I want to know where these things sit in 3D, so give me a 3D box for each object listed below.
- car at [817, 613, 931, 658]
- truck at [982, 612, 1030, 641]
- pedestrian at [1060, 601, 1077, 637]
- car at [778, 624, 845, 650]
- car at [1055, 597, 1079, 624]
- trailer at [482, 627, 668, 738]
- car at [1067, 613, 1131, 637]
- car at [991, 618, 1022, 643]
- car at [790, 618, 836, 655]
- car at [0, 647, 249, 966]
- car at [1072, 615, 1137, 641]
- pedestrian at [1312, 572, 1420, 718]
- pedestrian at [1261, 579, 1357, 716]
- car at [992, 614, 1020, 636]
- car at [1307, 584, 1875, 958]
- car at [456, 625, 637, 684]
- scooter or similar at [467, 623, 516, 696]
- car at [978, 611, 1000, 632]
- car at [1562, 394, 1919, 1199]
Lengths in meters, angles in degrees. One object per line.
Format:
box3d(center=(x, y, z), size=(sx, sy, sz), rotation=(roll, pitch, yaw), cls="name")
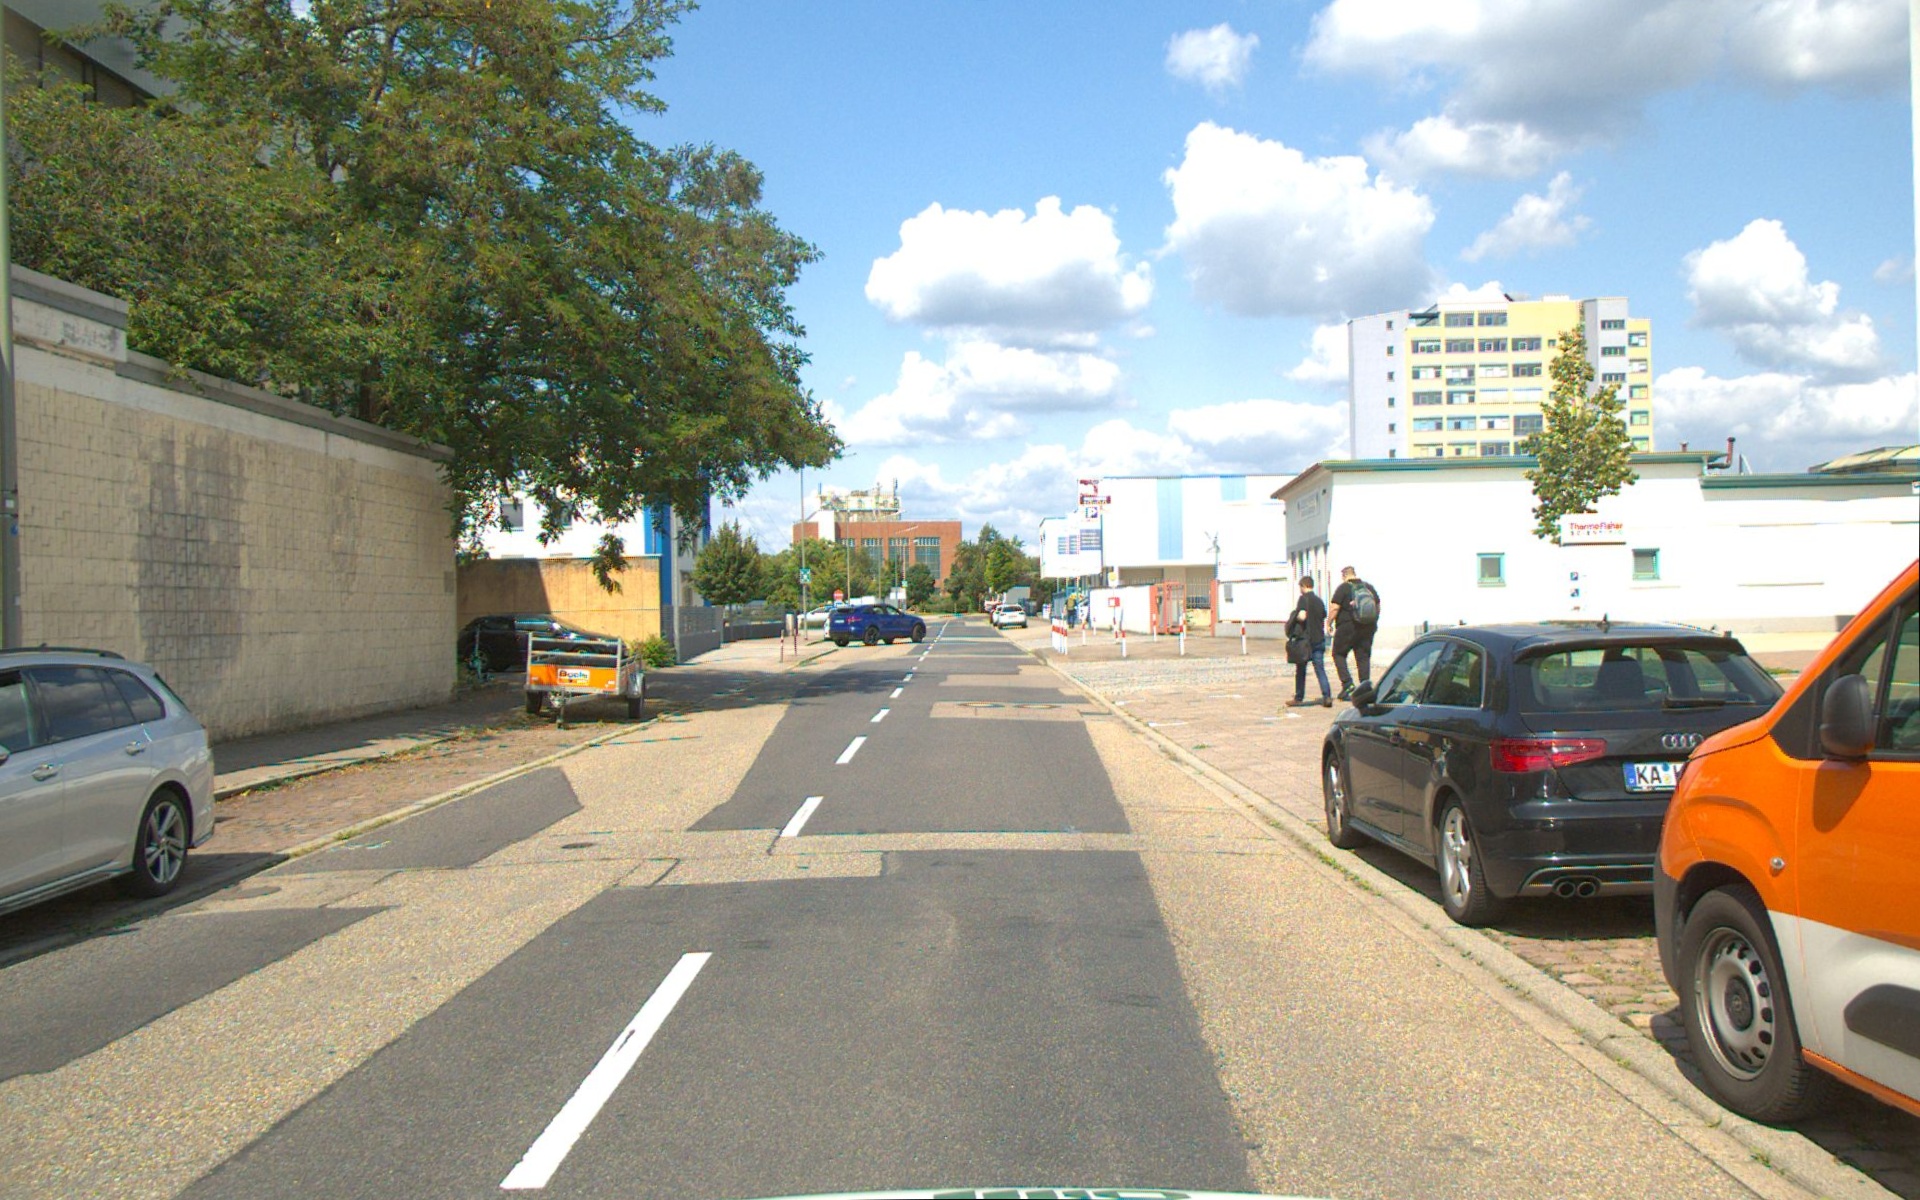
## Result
box3d(center=(-3.503, 1.452, 68.078), size=(1.881, 1.621, 4.673), rotation=(-3, -1, 42), cls="car")
box3d(center=(6.285, 3.616, 224.618), size=(2.278, 3.630, 9.349), rotation=(0, 1, 30), cls="truck")
box3d(center=(5.608, 0.987, 85.562), size=(0.754, 1.787, 0.787), rotation=(-3, -1, -1), cls="pedestrian")
box3d(center=(-10.611, 2.638, 118.459), size=(4.661, 1.630, 1.998), rotation=(-3, -1, -4), cls="car")
box3d(center=(10.103, 1.038, 156.091), size=(1.884, 2.507, 5.259), rotation=(-1, -1, 0), cls="car")
box3d(center=(-5.656, 1.166, 24.803), size=(1.731, 1.464, 4.335), rotation=(1, -1, 0), cls="trailer")
box3d(center=(9.475, 1.719, 112.773), size=(4.191, 1.445, 2.000), rotation=(-2, 0, 0), cls="car")
box3d(center=(2.991, 1.980, 106.589), size=(1.829, 1.547, 4.597), rotation=(-1, -1, -1), cls="car")
box3d(center=(-7.084, 1.746, 79.870), size=(1.829, 1.738, 4.752), rotation=(0, -1, -1), cls="car")
box3d(center=(-5.413, 1.014, 8.393), size=(1.639, 1.481, 4.513), rotation=(0, -1, 0), cls="car")
box3d(center=(9.006, 1.747, 103.230), size=(3.905, 1.445, 2.000), rotation=(-2, 0, 0), cls="car")
box3d(center=(5.748, 0.622, 23.457), size=(0.976, 1.986, 1.084), rotation=(-2, -1, -23), cls="pedestrian")
box3d(center=(4.849, 0.651, 23.018), size=(0.845, 1.839, 0.998), rotation=(-2, -1, -23), cls="pedestrian")
box3d(center=(3.297, 1.792, 119.497), size=(1.797, 1.547, 4.460), rotation=(-1, -1, -1), cls="car")
box3d(center=(3.186, 0.774, 9.288), size=(1.625, 1.585, 4.178), rotation=(1, -1, 1), cls="car")
box3d(center=(-10.072, 1.315, 40.470), size=(3.909, 1.386, 1.795), rotation=(0, -1, 3), cls="car")
box3d(center=(-8.670, 1.090, 30.645), size=(0.472, 1.301, 1.360), rotation=(1, -1, 0), cls="scooter or similar")
box3d(center=(2.416, 1.814, 138.268), size=(1.718, 1.679, 4.678), rotation=(-1, -1, 2), cls="car")
box3d(center=(3.182, 0.511, 3.745), size=(1.834, 1.925, 4.450), rotation=(3, -1, -2), cls="car")
